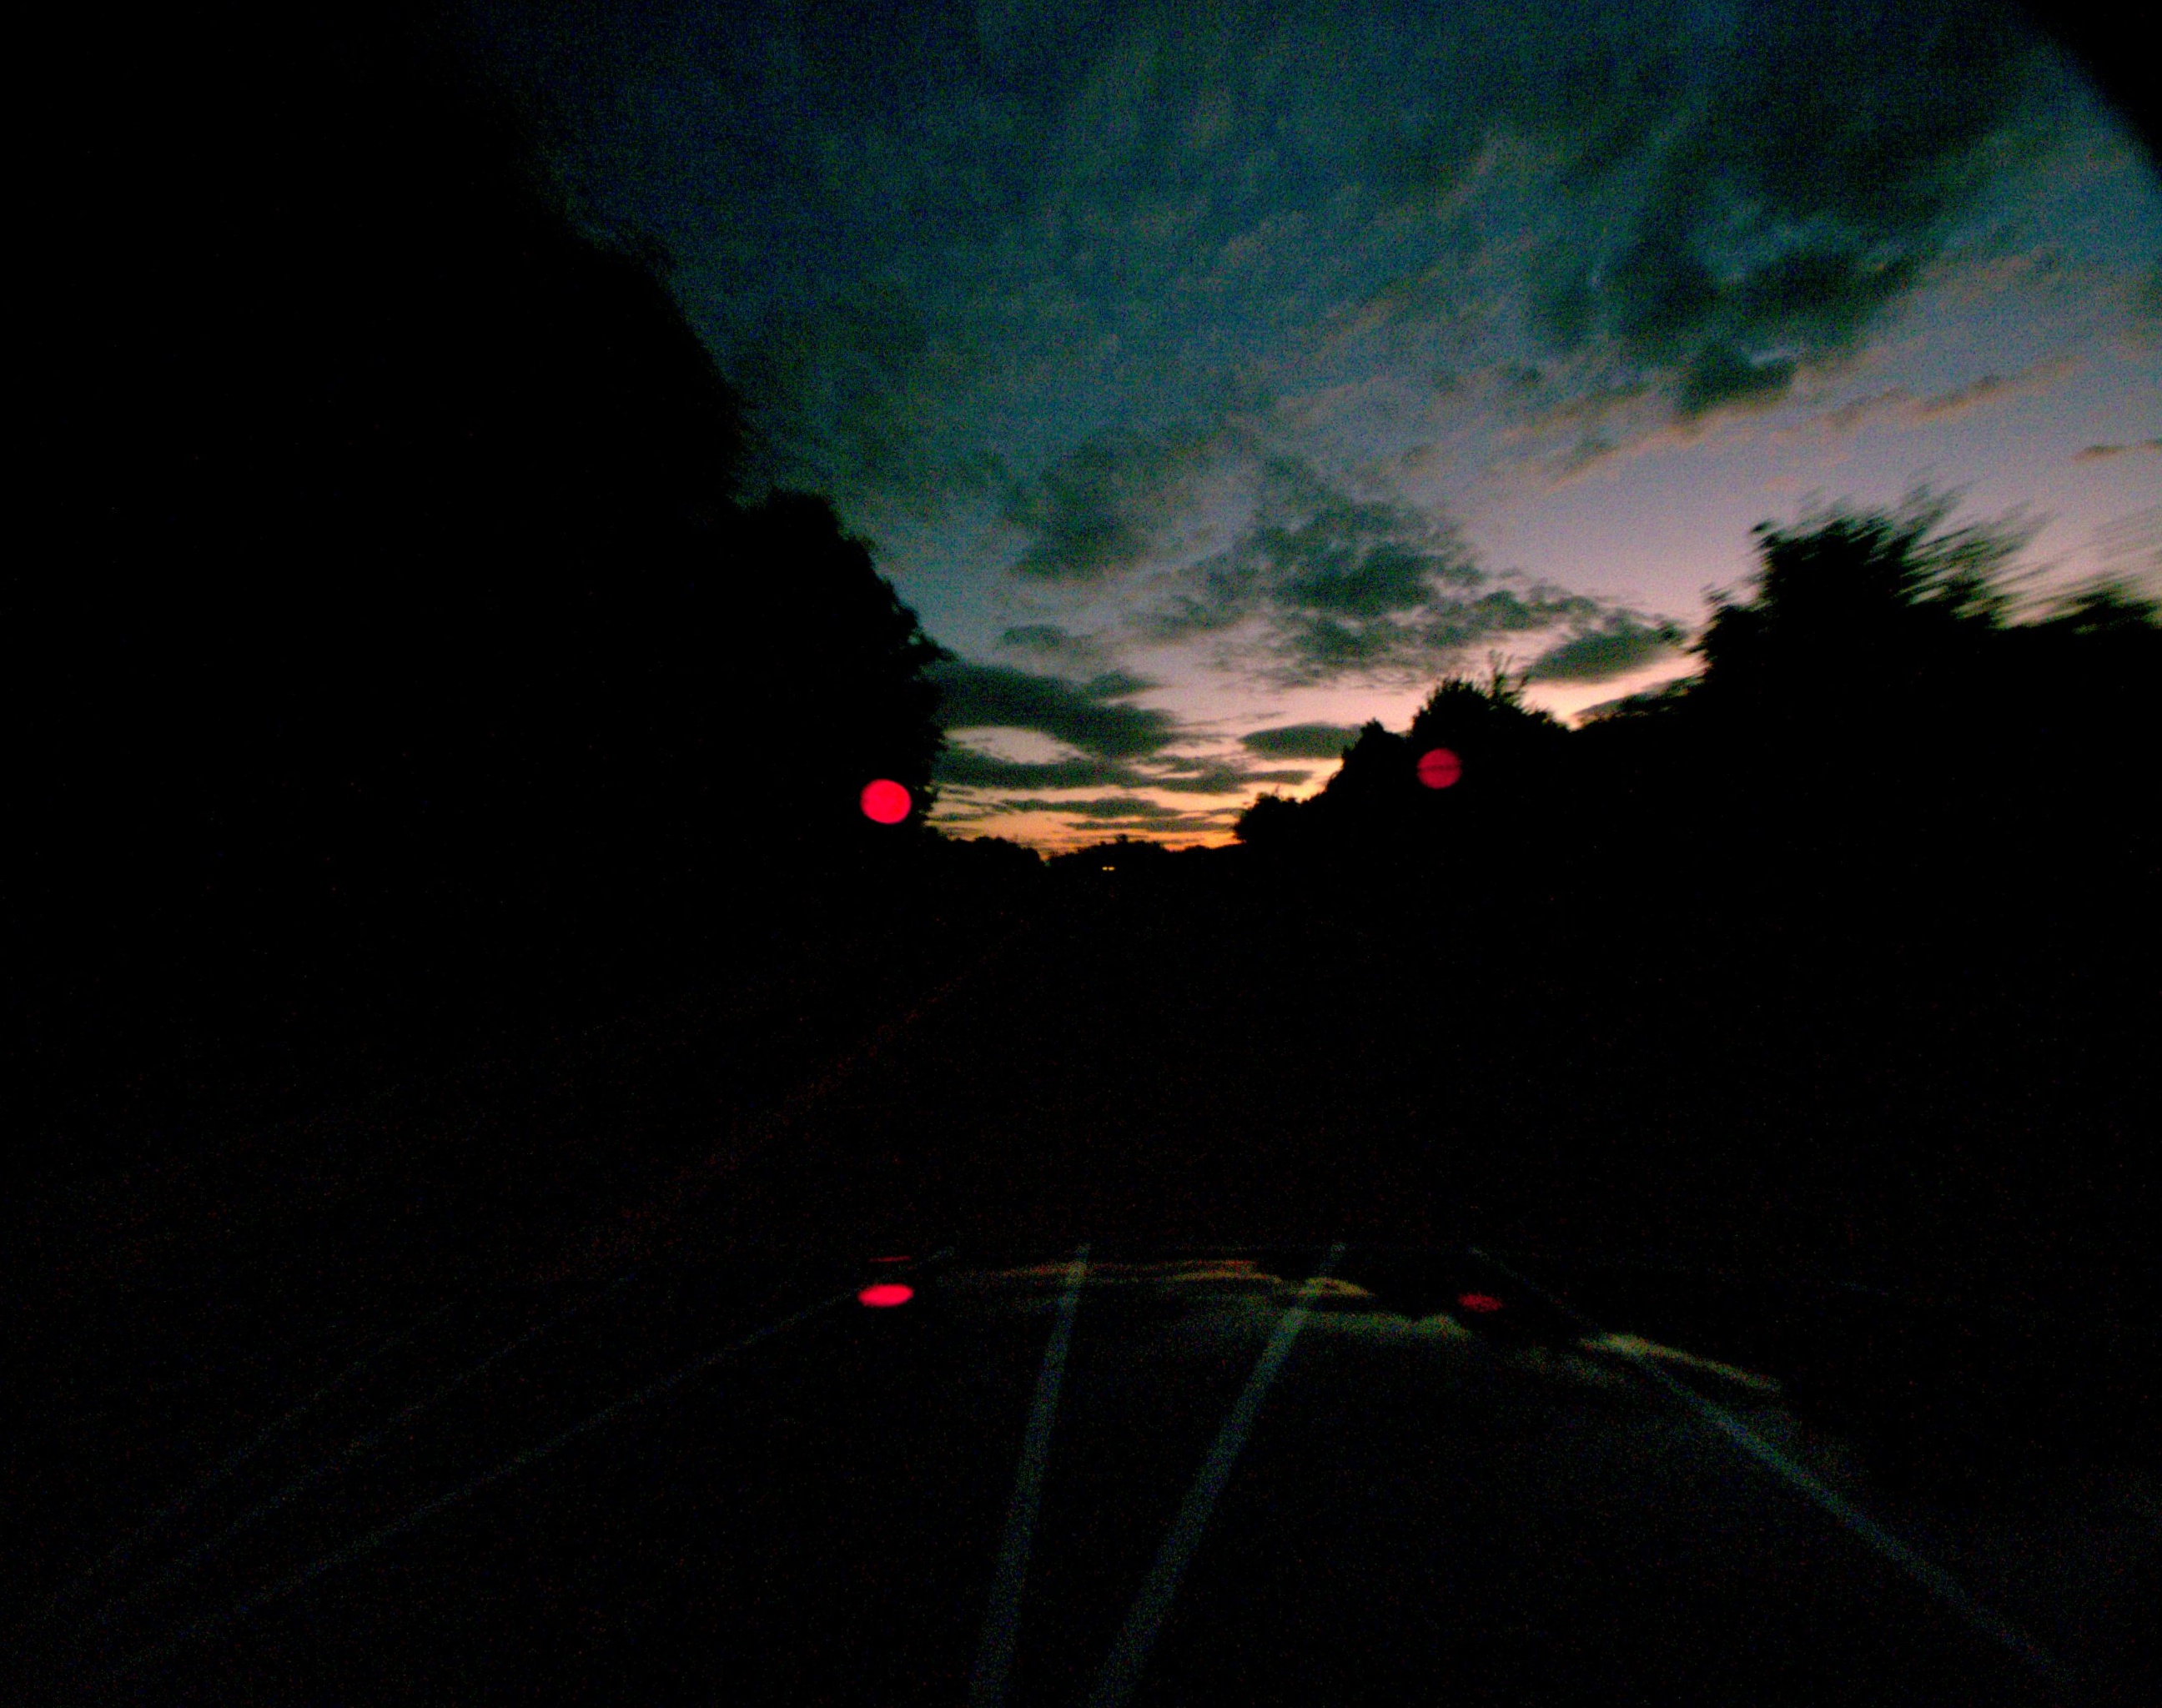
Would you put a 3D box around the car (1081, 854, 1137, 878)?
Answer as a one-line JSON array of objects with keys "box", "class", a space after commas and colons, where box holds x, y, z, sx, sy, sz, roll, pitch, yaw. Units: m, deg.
[{"box": [3.362, 1.448, 93.082, 6.481, 2.514, 2.269, -4, 1, 34], "class": "car"}]
